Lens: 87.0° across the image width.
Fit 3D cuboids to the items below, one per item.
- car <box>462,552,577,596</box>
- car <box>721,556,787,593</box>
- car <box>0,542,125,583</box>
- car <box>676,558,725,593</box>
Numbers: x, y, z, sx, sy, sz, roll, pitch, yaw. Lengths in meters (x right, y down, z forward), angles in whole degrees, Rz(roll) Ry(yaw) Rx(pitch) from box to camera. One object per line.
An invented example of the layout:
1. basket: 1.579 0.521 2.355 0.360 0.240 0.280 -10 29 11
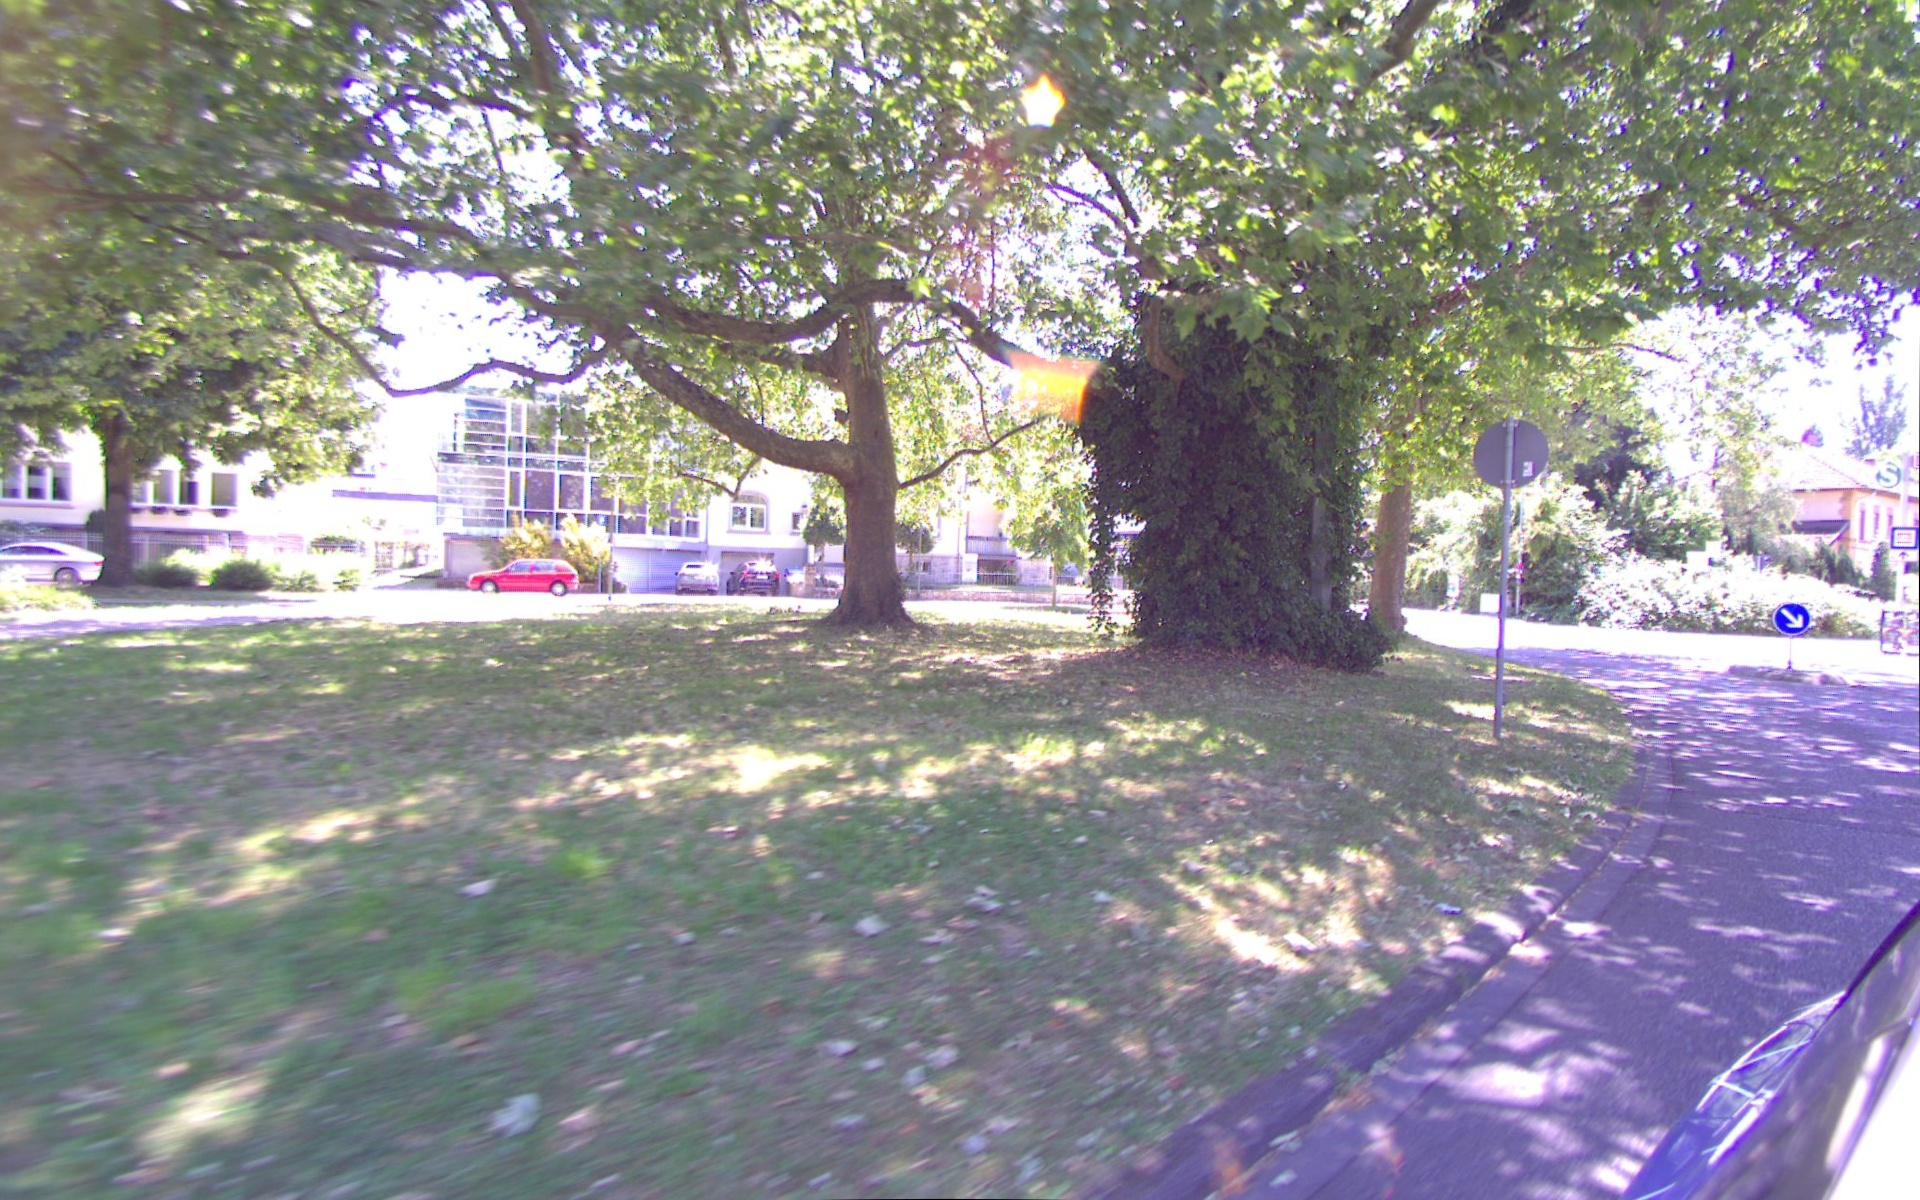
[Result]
1. car: -16.759 -0.967 38.672 3.916 1.543 1.757 1 0 -22
2. car: -9.567 -1.192 46.832 1.959 1.587 4.007 1 2 -27
3. car: -31.287 -1.278 34.049 4.616 1.303 1.675 0 3 -20
4. car: -11.638 -1.116 45.168 1.958 1.408 4.010 1 3 -16
